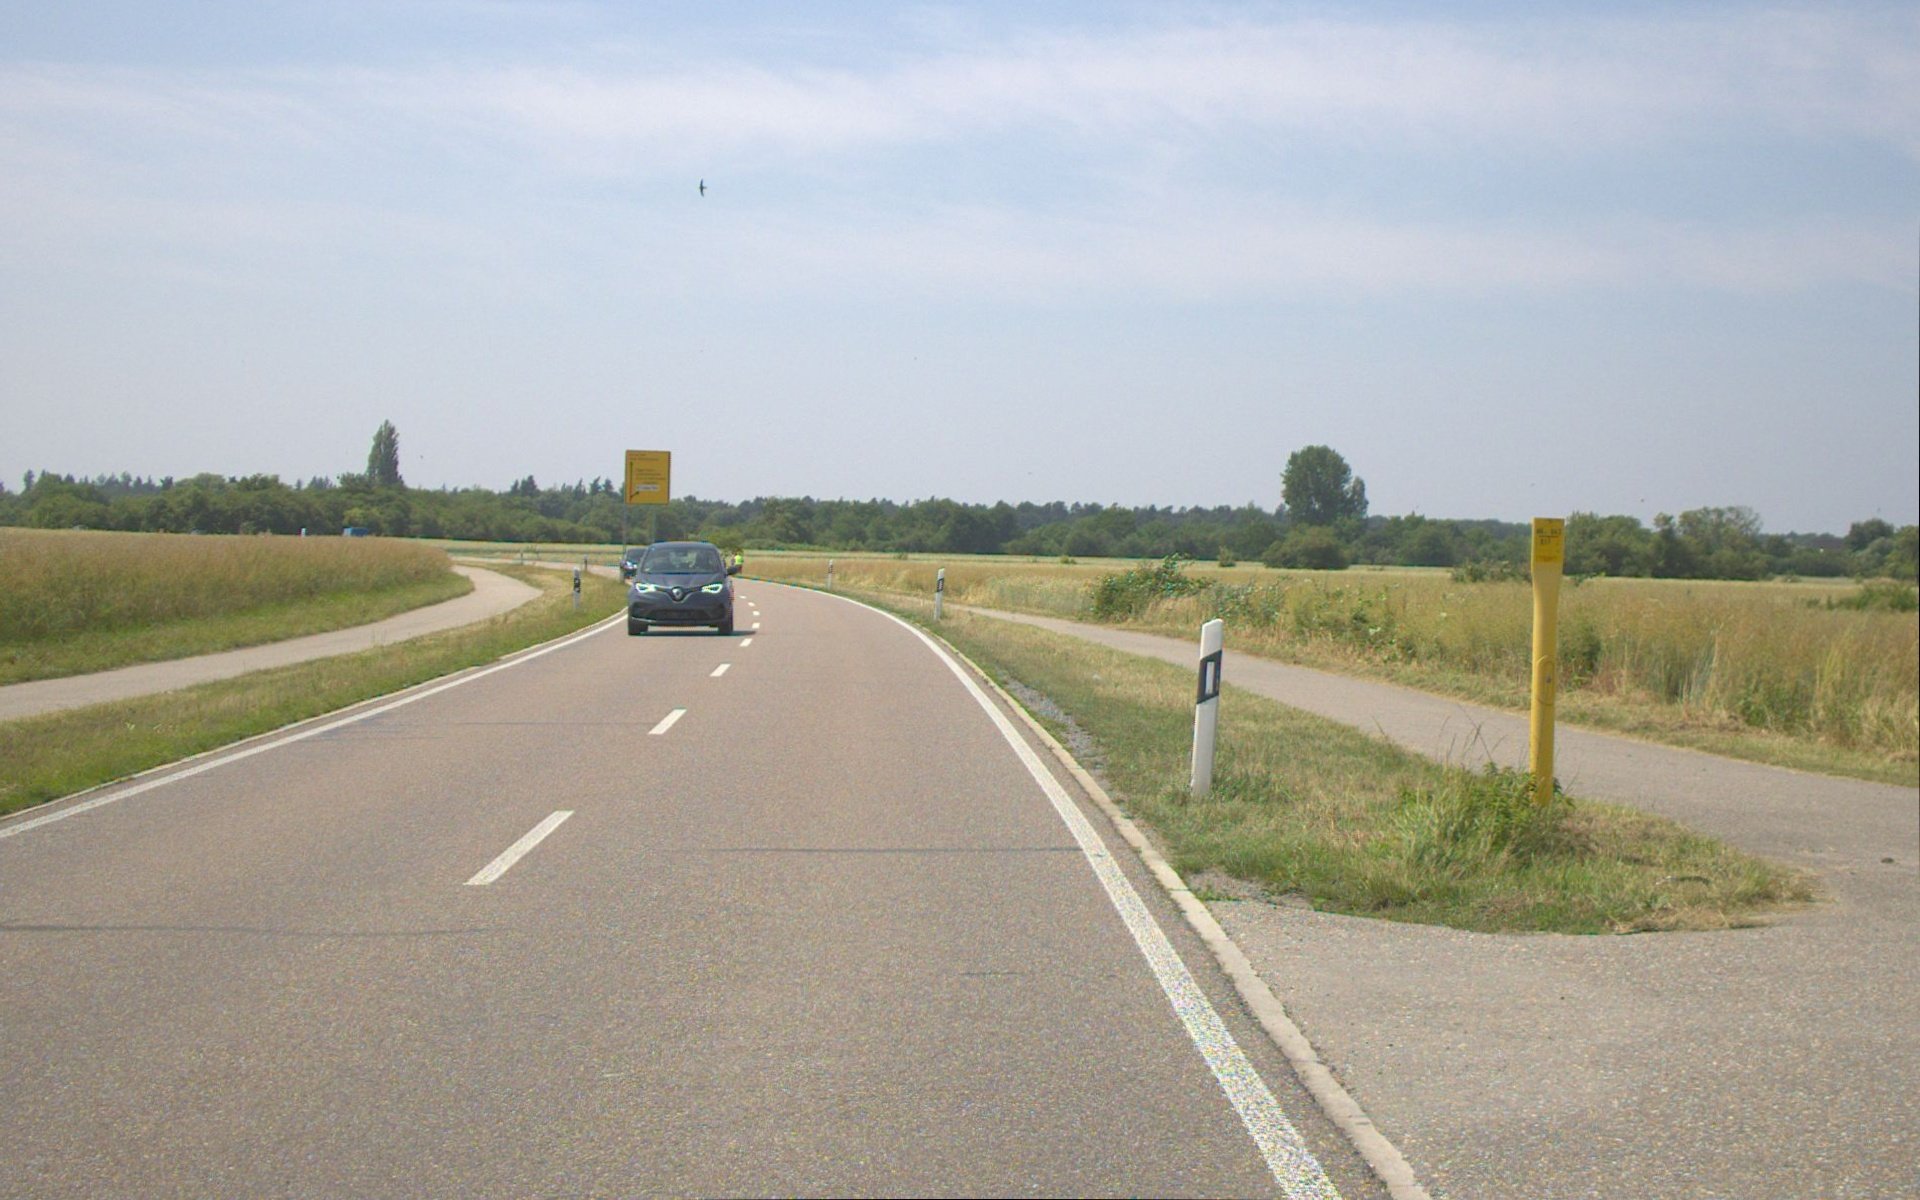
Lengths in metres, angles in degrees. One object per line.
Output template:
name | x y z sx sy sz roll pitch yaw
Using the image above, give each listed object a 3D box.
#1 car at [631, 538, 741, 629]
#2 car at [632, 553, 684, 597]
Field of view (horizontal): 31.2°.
car | -4.625 -0.273 58.478 1.623 1.486 4.000 0 0 -1
car | -11.210 -0.918 127.718 1.712 1.581 3.502 0 0 -1
